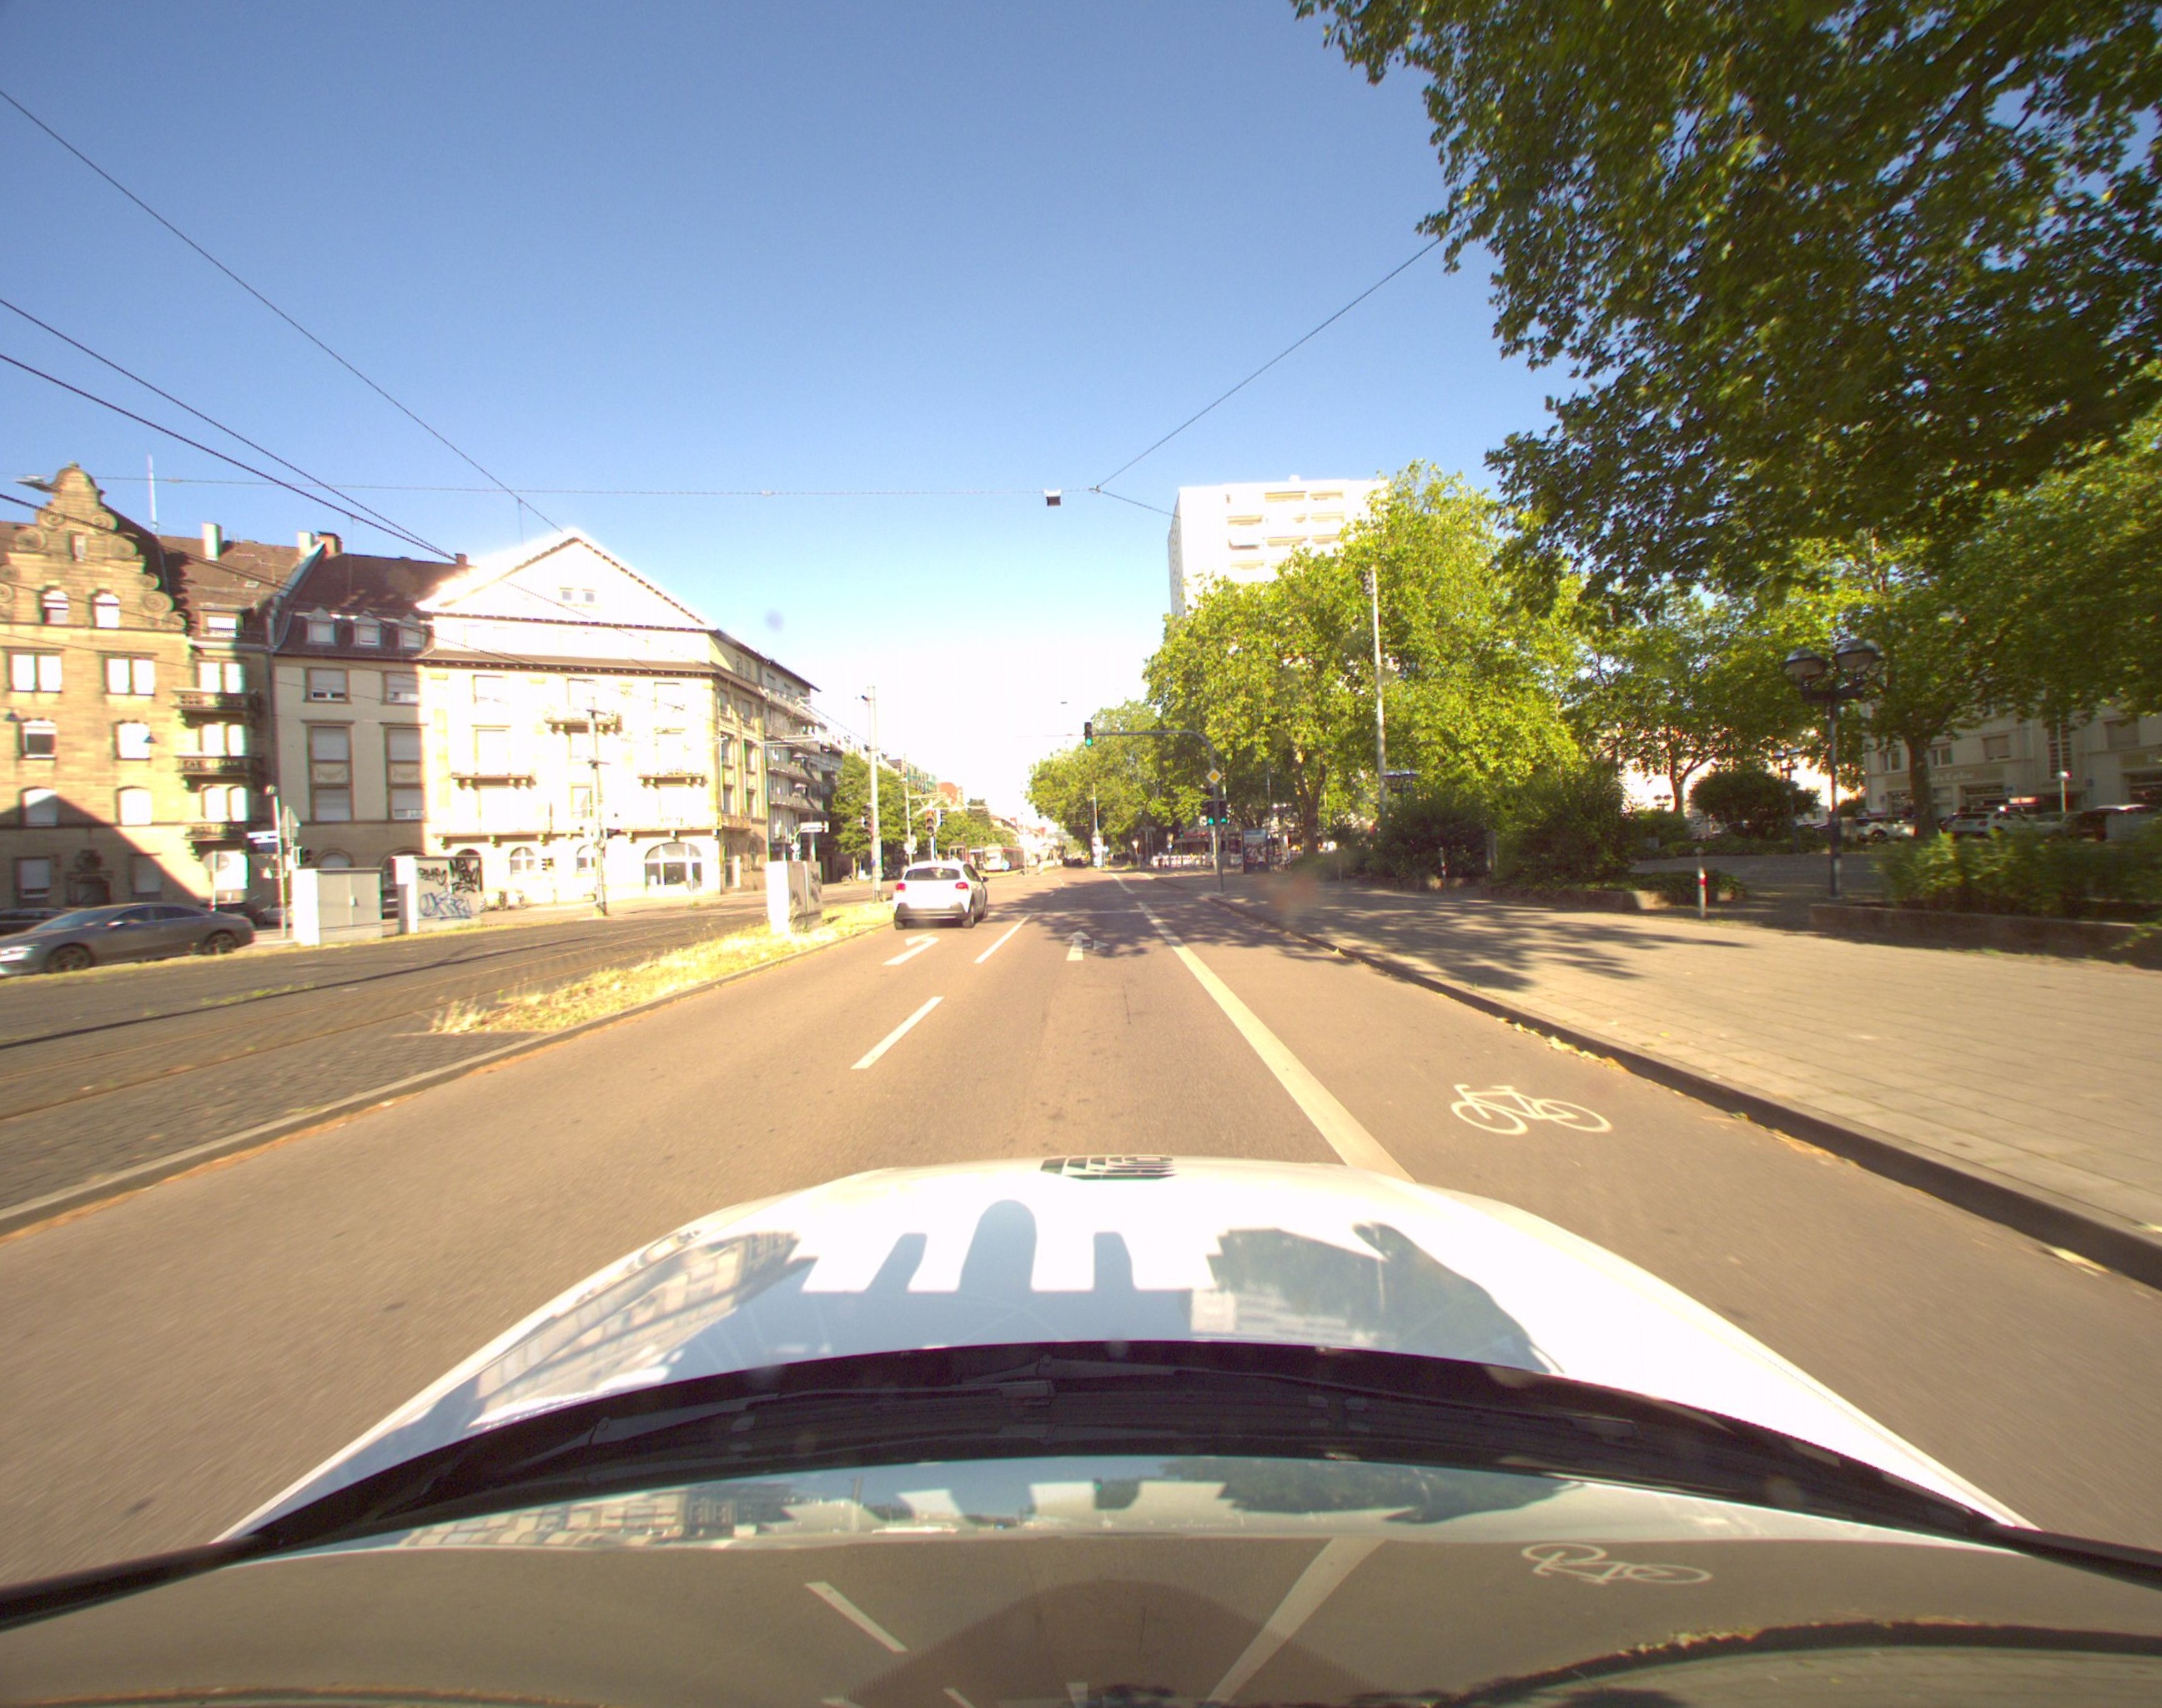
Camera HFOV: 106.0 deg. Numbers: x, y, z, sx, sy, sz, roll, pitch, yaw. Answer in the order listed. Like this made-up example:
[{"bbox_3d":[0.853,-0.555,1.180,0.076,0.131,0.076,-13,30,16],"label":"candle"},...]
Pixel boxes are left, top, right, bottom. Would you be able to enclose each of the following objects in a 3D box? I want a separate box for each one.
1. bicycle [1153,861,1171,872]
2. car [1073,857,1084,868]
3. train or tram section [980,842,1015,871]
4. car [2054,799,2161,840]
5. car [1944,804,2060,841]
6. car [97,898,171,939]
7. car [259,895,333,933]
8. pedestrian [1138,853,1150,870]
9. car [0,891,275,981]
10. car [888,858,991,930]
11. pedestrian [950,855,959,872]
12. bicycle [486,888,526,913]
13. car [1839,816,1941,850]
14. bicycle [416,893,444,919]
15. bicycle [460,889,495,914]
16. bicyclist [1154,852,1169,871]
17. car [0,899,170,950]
[{"bbox_3d":[7.127,1.074,71.917,1.196,0.934,2.571,0,0,-2],"label":"bicycle"},{"bbox_3d":[-0.482,1.656,153.509,1.986,2.013,4.001,0,0,1],"label":"car"},{"bbox_3d":[-10.433,0.319,102.707,2.941,3.410,10.794,0,0,1],"label":"train or tram section"},{"bbox_3d":[46.929,-1.571,36.848,3.983,1.618,1.859,-3,0,-7],"label":"car"},{"bbox_3d":[46.819,-1.573,41.431,4.280,1.618,1.858,-3,0,-9],"label":"car"},{"bbox_3d":[-47.863,3.194,41.139,4.538,1.753,2.013,0,0,35],"label":"car"},{"bbox_3d":[-42.026,3.153,43.556,4.538,1.753,2.013,0,0,35],"label":"car"},{"bbox_3d":[5.241,0.644,67.940,0.653,1.388,0.837,0,0,33],"label":"pedestrian"},{"bbox_3d":[-20.972,1.726,17.651,1.986,1.449,4.841,-5,0,1],"label":"car"},{"bbox_3d":[-3.158,0.839,18.844,1.739,1.462,3.644,0,0,0],"label":"car"},{"bbox_3d":[-14.105,1.039,90.655,0.961,1.833,0.988,0,0,-6],"label":"pedestrian"},{"bbox_3d":[-33.546,2.692,47.553,0.821,1.282,2.558,0,0,-7],"label":"bicycle"},{"bbox_3d":[46.314,-1.179,46.691,3.877,1.684,1.999,-3,0,-1],"label":"car"},{"bbox_3d":[-36.623,2.897,45.837,0.826,1.283,2.540,0,0,-30],"label":"bicycle"},{"bbox_3d":[-34.496,2.700,46.622,0.824,1.282,2.549,0,0,-18],"label":"bicycle"},{"bbox_3d":[7.105,0.672,71.969,1.196,1.696,0.903,0,0,-3],"label":"bicyclist"},{"bbox_3d":[-40.923,2.818,32.997,4.948,1.753,1.983,0,0,-26],"label":"car"}]
